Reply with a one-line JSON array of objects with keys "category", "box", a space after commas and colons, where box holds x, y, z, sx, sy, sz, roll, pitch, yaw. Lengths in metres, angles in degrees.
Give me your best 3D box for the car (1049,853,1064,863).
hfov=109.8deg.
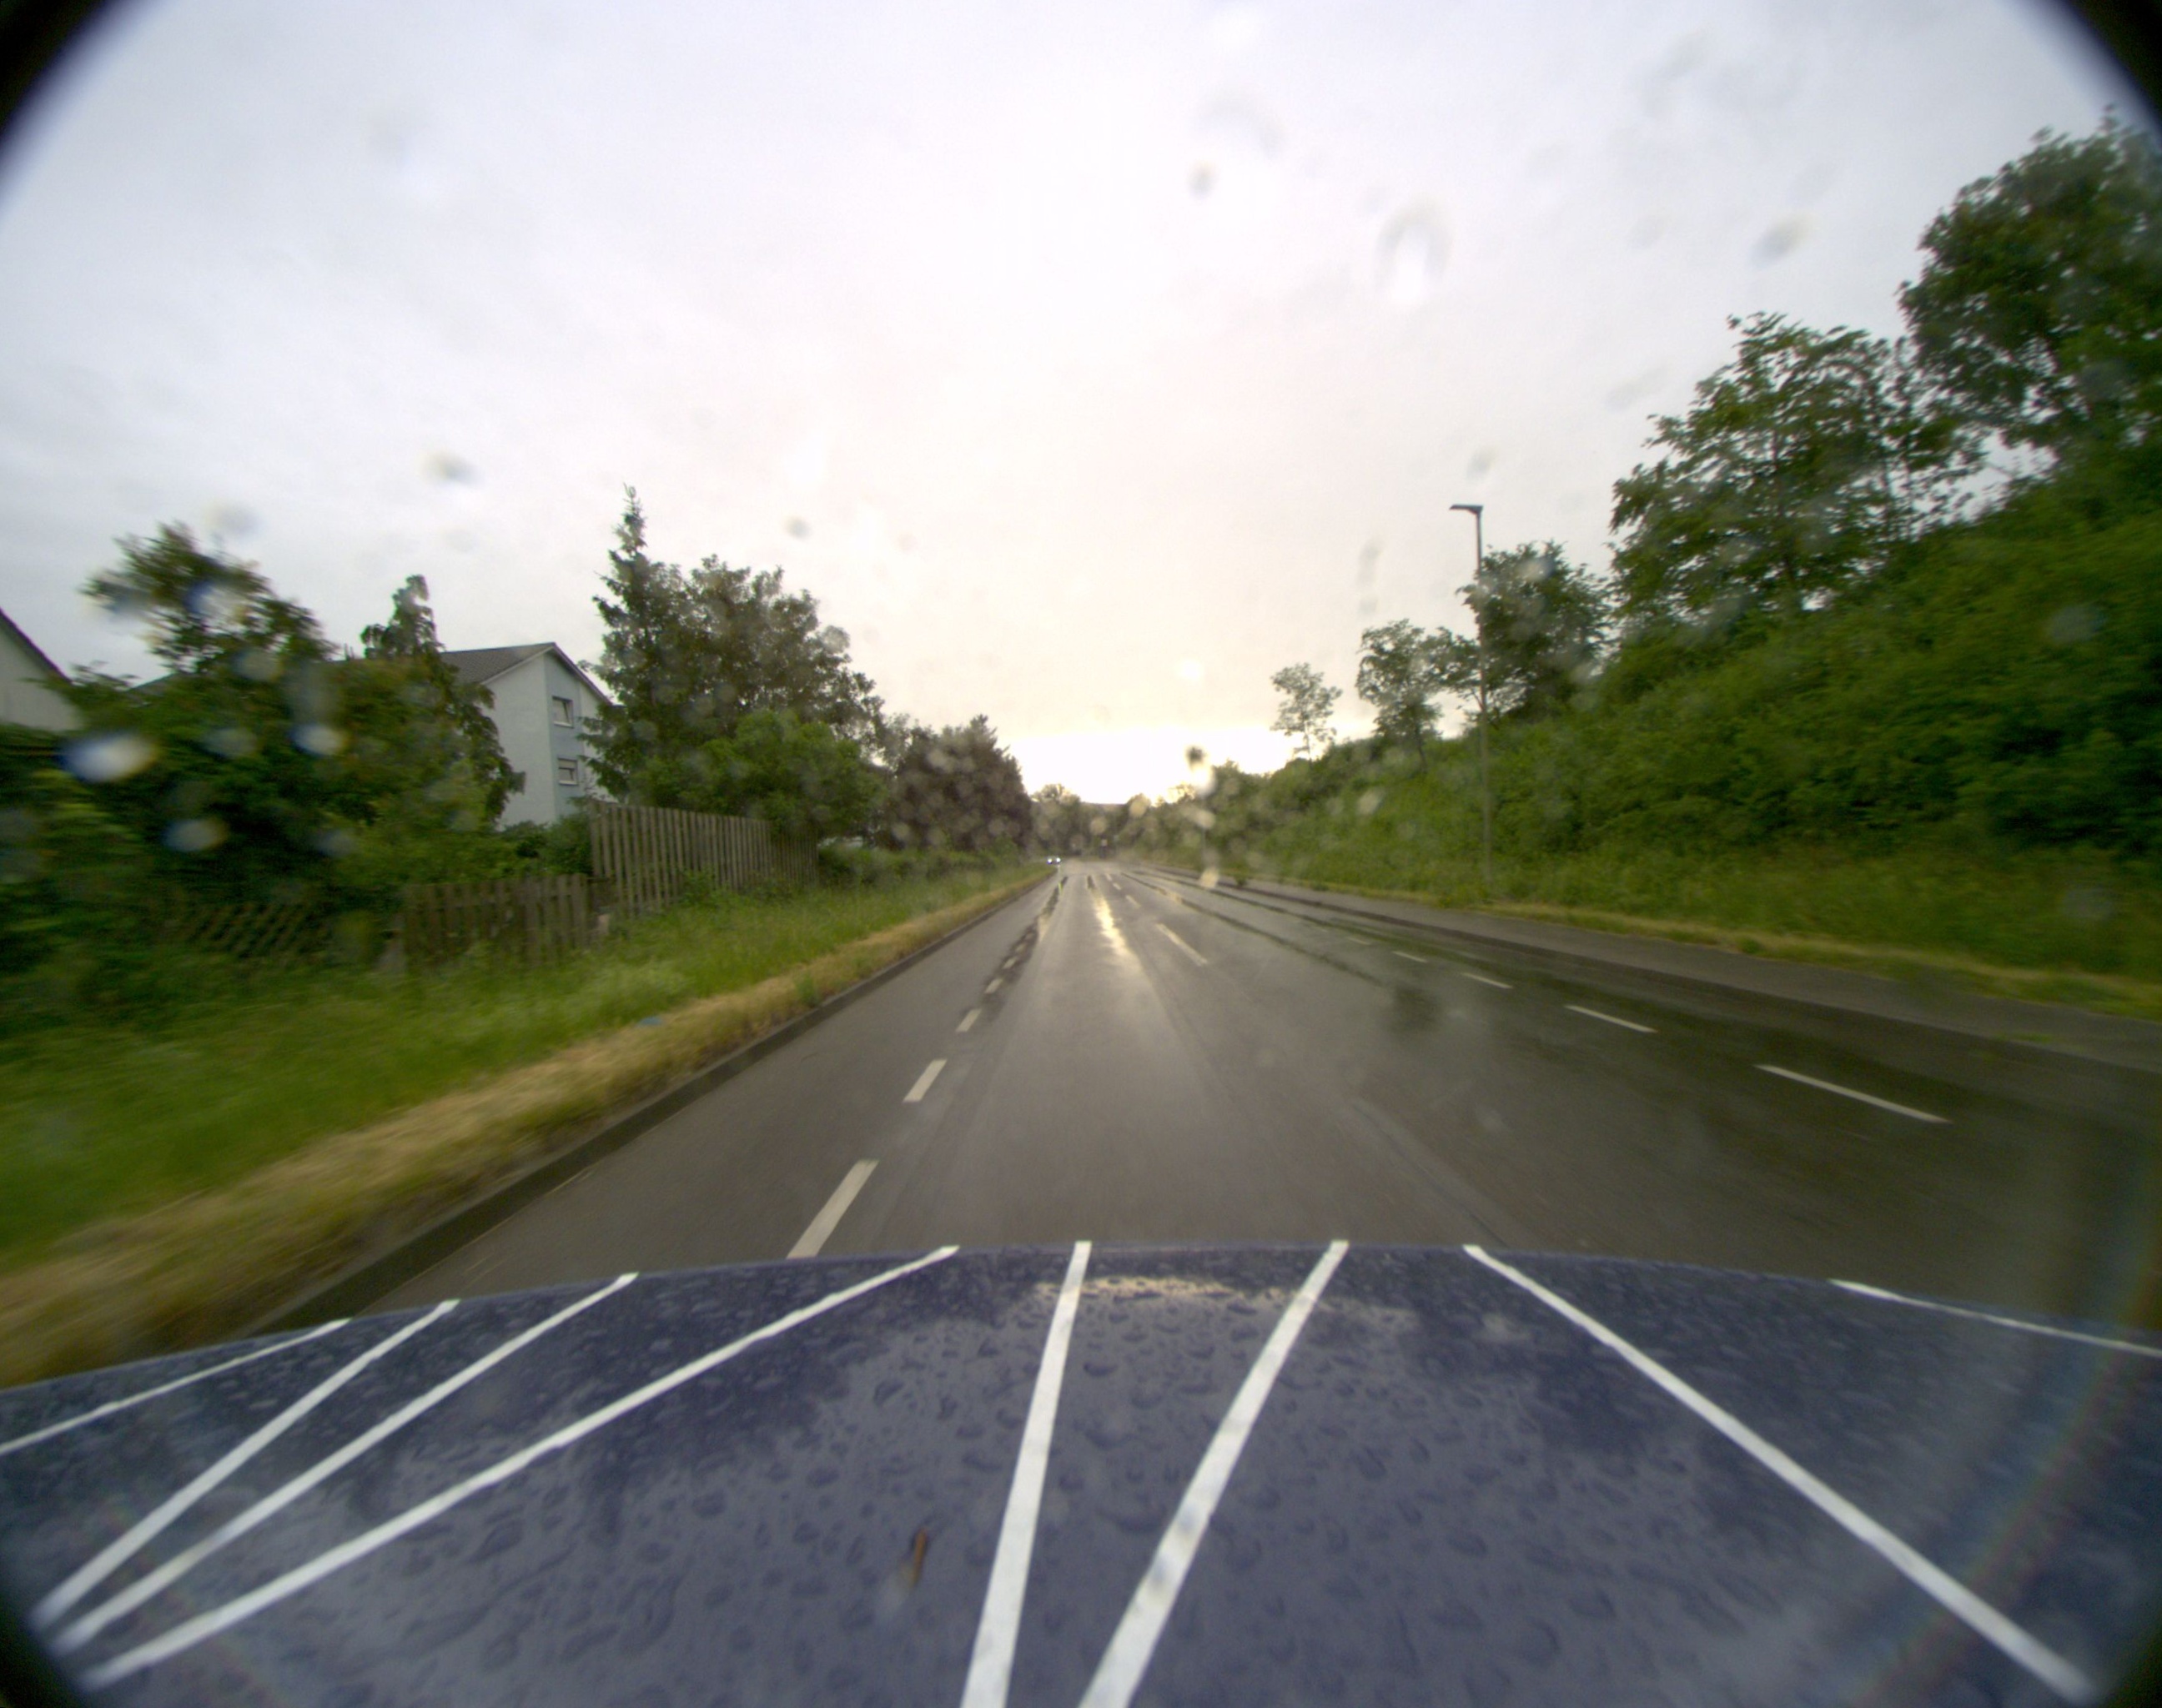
[{"category": "car", "box": [-4.047, 0.692, 125.049, 1.881, 1.596, 3.996, -1, 0, -10]}]
